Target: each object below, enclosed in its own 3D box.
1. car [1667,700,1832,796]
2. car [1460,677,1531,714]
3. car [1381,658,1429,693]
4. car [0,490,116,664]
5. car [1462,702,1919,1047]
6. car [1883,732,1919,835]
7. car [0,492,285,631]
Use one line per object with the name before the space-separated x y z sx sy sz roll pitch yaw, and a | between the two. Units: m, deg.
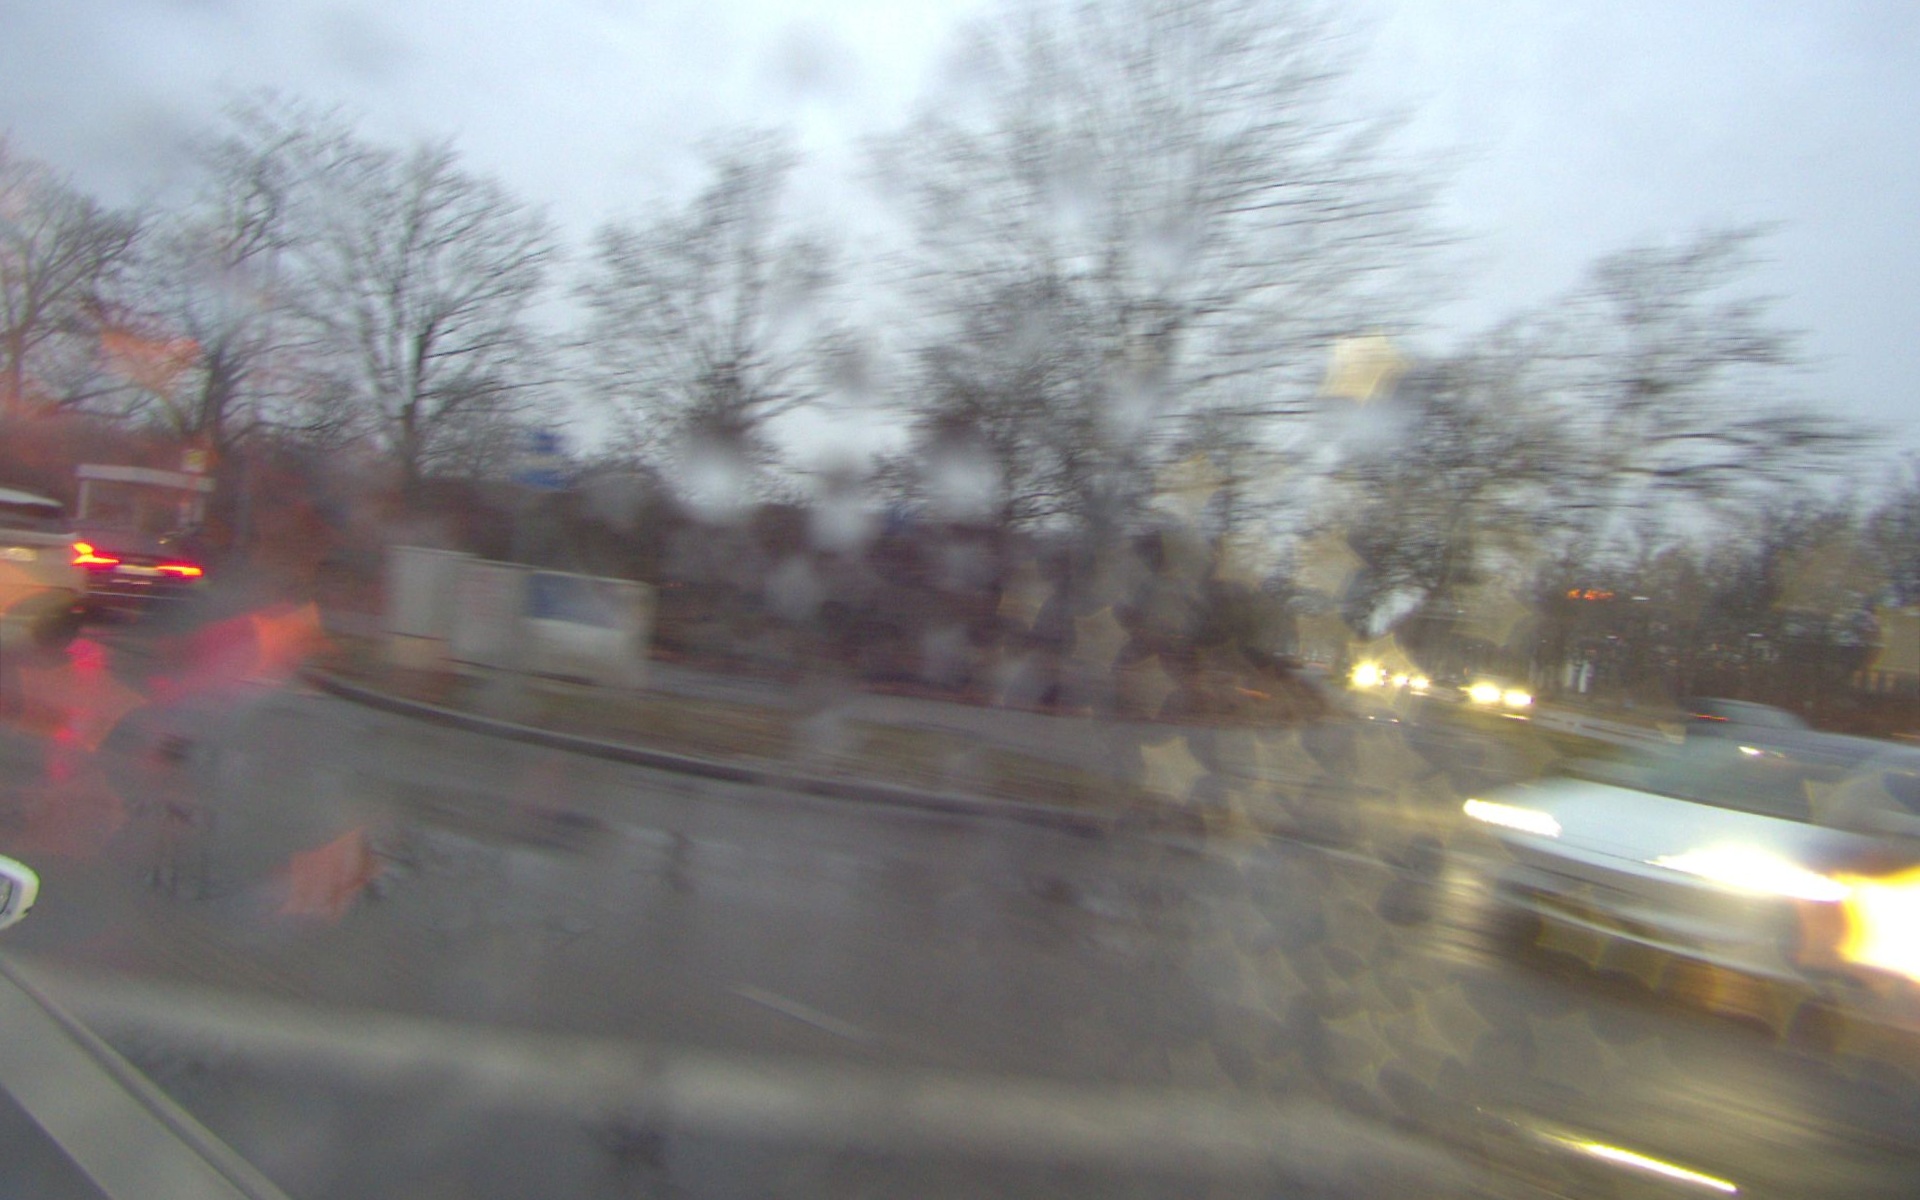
car | 18.187 3.336 23.406 1.627 1.655 3.891 7 -1 18
car | 24.433 4.320 46.018 1.962 1.258 4.002 7 -1 17
car | 30.083 5.093 68.129 1.962 2.036 4.006 7 -2 12
car | -11.074 -0.433 10.553 4.334 1.638 1.819 6 -1 28
car | 5.768 1.644 6.509 4.693 1.392 1.872 7 -1 -24
car | 14.149 2.655 13.771 1.612 1.325 3.988 6 -1 35
car | -12.804 -0.617 15.602 4.470 1.640 1.970 6 0 29
